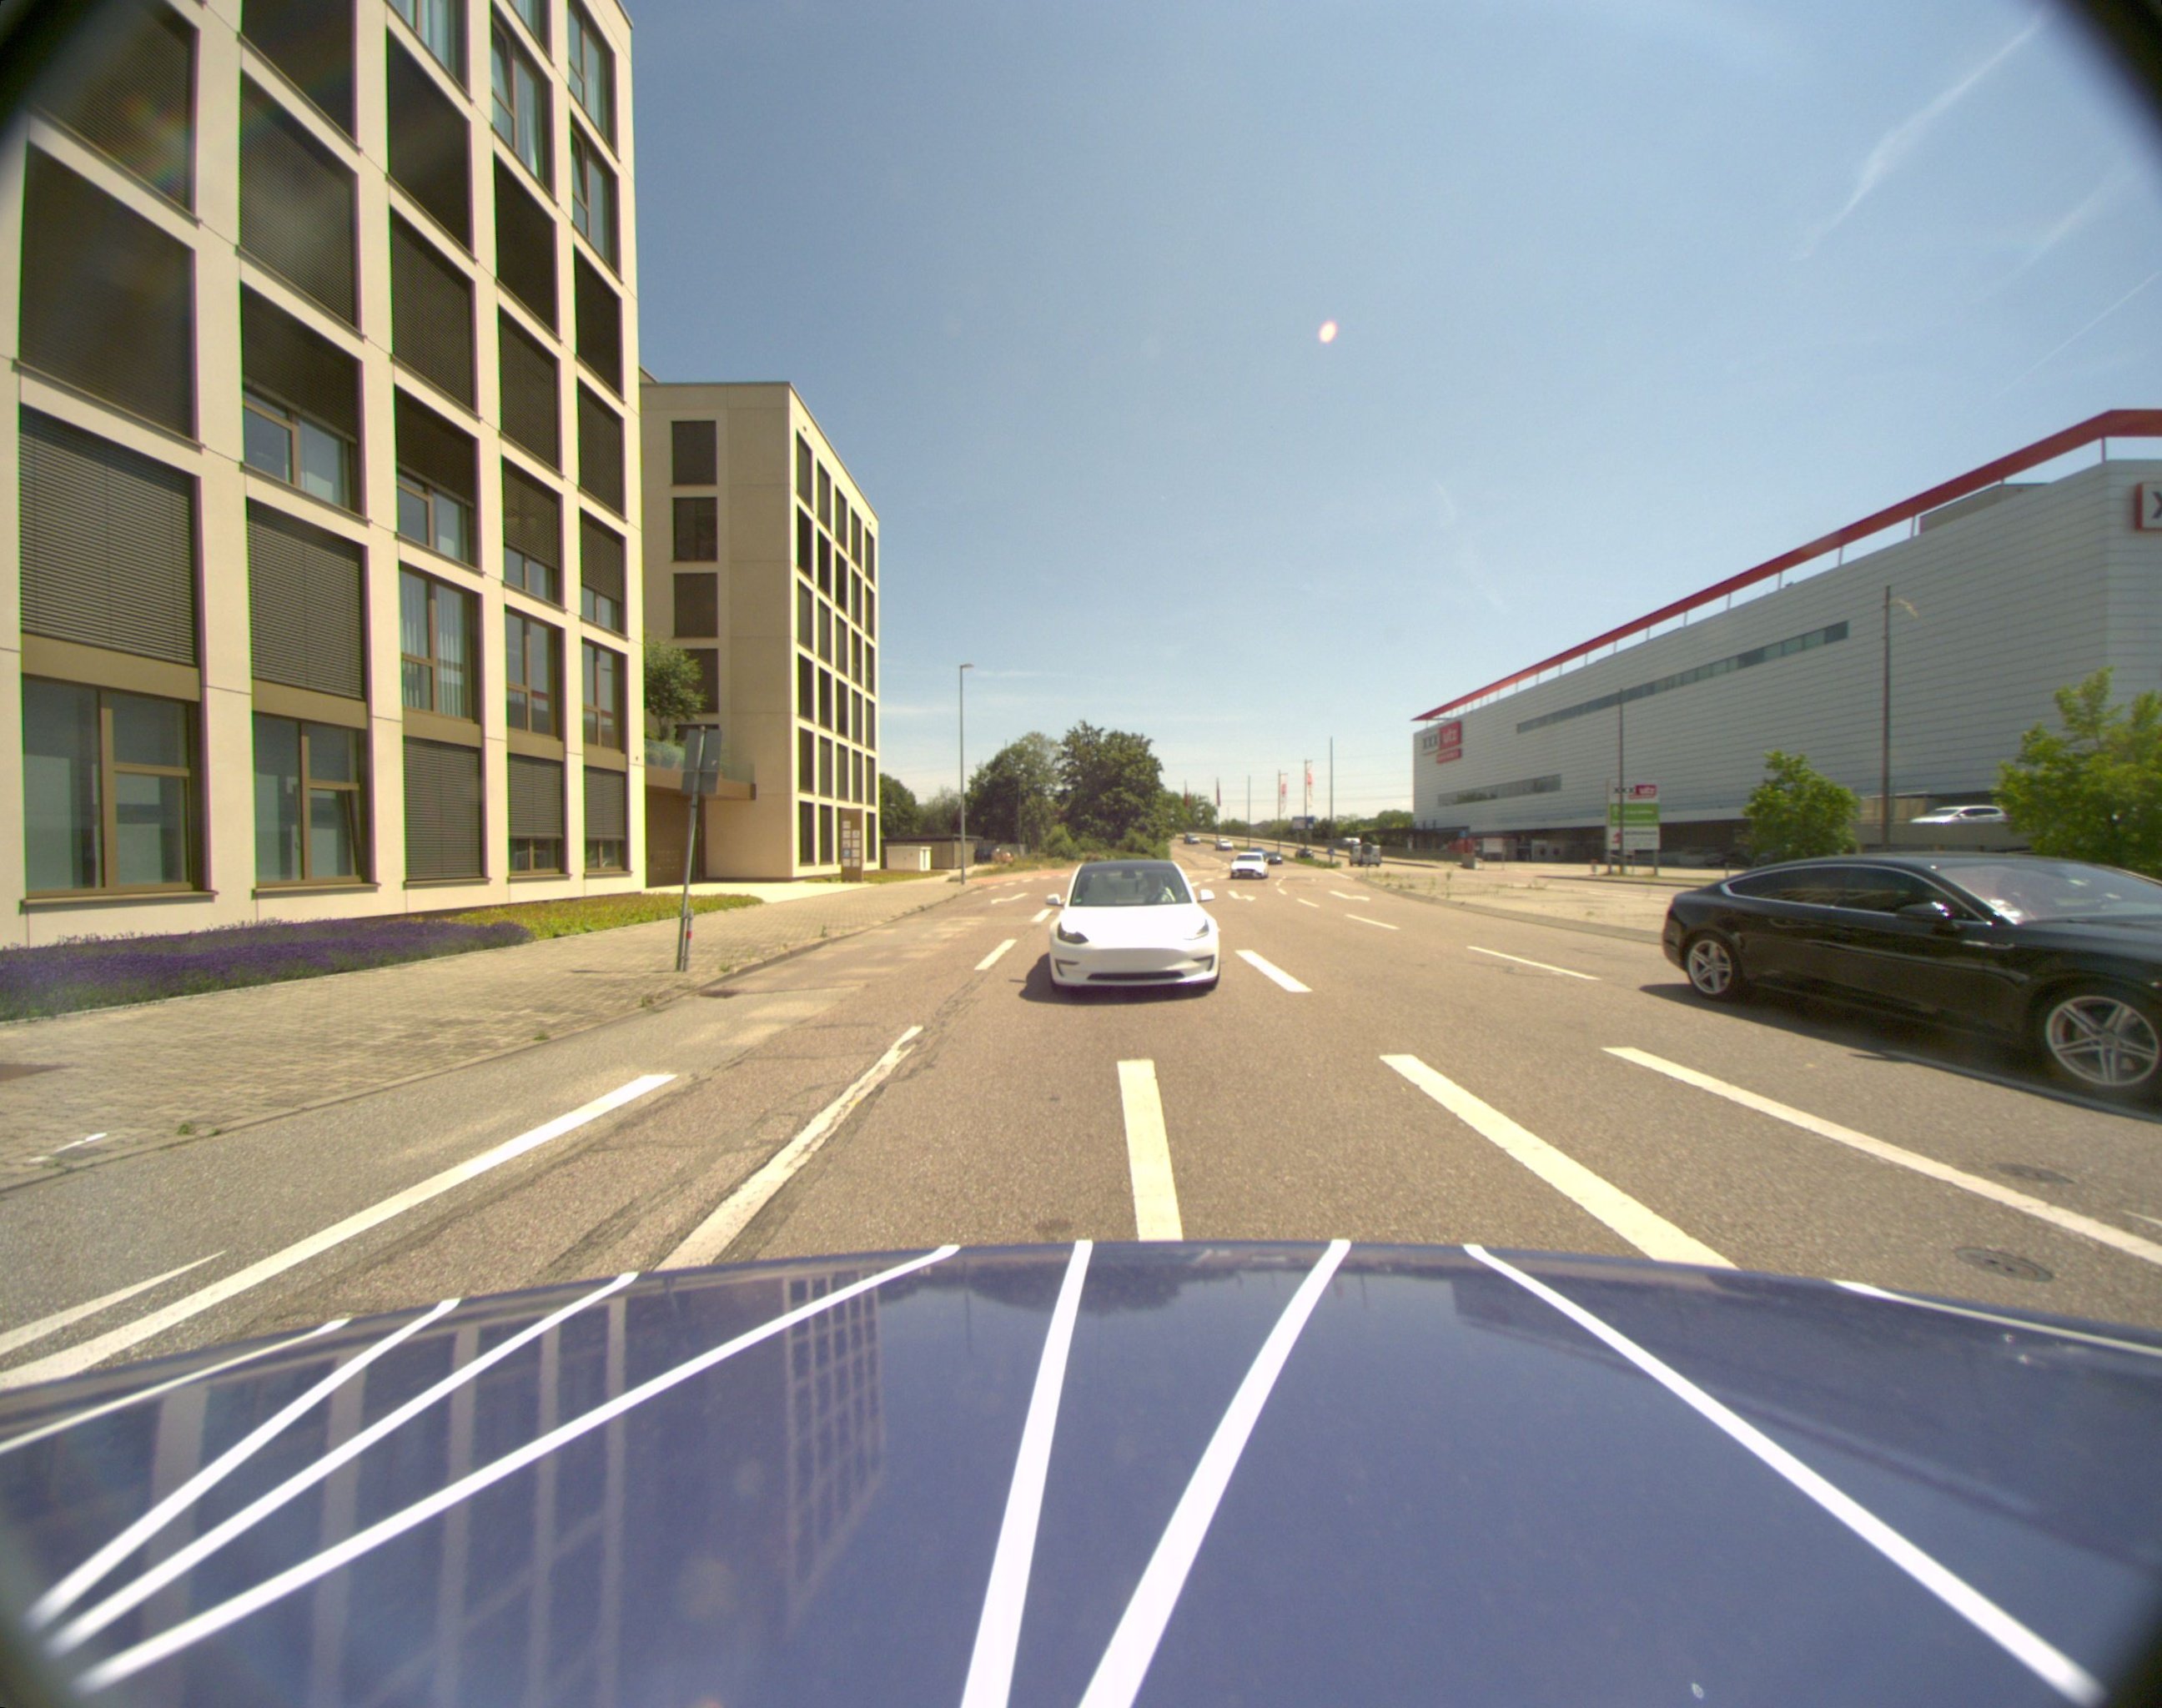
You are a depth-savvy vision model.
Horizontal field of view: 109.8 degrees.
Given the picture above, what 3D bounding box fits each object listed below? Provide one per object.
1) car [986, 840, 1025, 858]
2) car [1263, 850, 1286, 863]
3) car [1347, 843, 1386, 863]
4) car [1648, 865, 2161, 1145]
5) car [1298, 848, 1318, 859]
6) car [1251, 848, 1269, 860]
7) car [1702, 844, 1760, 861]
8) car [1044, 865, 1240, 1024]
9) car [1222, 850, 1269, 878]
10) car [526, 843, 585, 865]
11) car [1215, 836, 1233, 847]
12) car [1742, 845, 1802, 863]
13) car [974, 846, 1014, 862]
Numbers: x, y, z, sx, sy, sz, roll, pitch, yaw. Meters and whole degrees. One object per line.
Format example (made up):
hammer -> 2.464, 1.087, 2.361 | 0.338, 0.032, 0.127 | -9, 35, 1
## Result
car -> -8.579, -0.598, 86.120 | 4.005, 1.942, 1.996 | 0, 1, -24
car -> 20.974, 0.291, 82.365 | 1.801, 1.369, 4.408 | -1, 0, 6
car -> 26.781, -0.110, 71.432 | 1.835, 1.840, 4.840 | 0, 1, 1
car -> 6.597, 0.819, 5.492 | 1.752, 1.382, 4.534 | -1, 0, 3
car -> 28.913, -0.088, 96.763 | 1.859, 1.295, 3.895 | 1, 0, 7
car -> 22.988, 0.007, 97.753 | 1.800, 1.405, 4.408 | -2, 0, 8
car -> 60.999, -0.158, 71.344 | 3.746, 1.611, 1.912 | 0, 1, 1
car -> 0.544, 0.907, 9.582 | 1.880, 1.417, 4.405 | -2, 0, -1
car -> 9.067, 0.519, 42.250 | 1.735, 1.441, 4.230 | 0, 0, 0
car -> -46.778, -0.043, 67.719 | 1.997, 1.841, 4.003 | 0, 1, 10
car -> 22.057, -1.913, 117.343 | 1.680, 1.566, 4.055 | -1, 1, -3
car -> 61.089, -0.013, 67.187 | 3.482, 1.487, 1.959 | 0, 1, 2
car -> -9.418, 0.001, 82.113 | 4.005, 1.652, 1.834 | 0, 1, -23
